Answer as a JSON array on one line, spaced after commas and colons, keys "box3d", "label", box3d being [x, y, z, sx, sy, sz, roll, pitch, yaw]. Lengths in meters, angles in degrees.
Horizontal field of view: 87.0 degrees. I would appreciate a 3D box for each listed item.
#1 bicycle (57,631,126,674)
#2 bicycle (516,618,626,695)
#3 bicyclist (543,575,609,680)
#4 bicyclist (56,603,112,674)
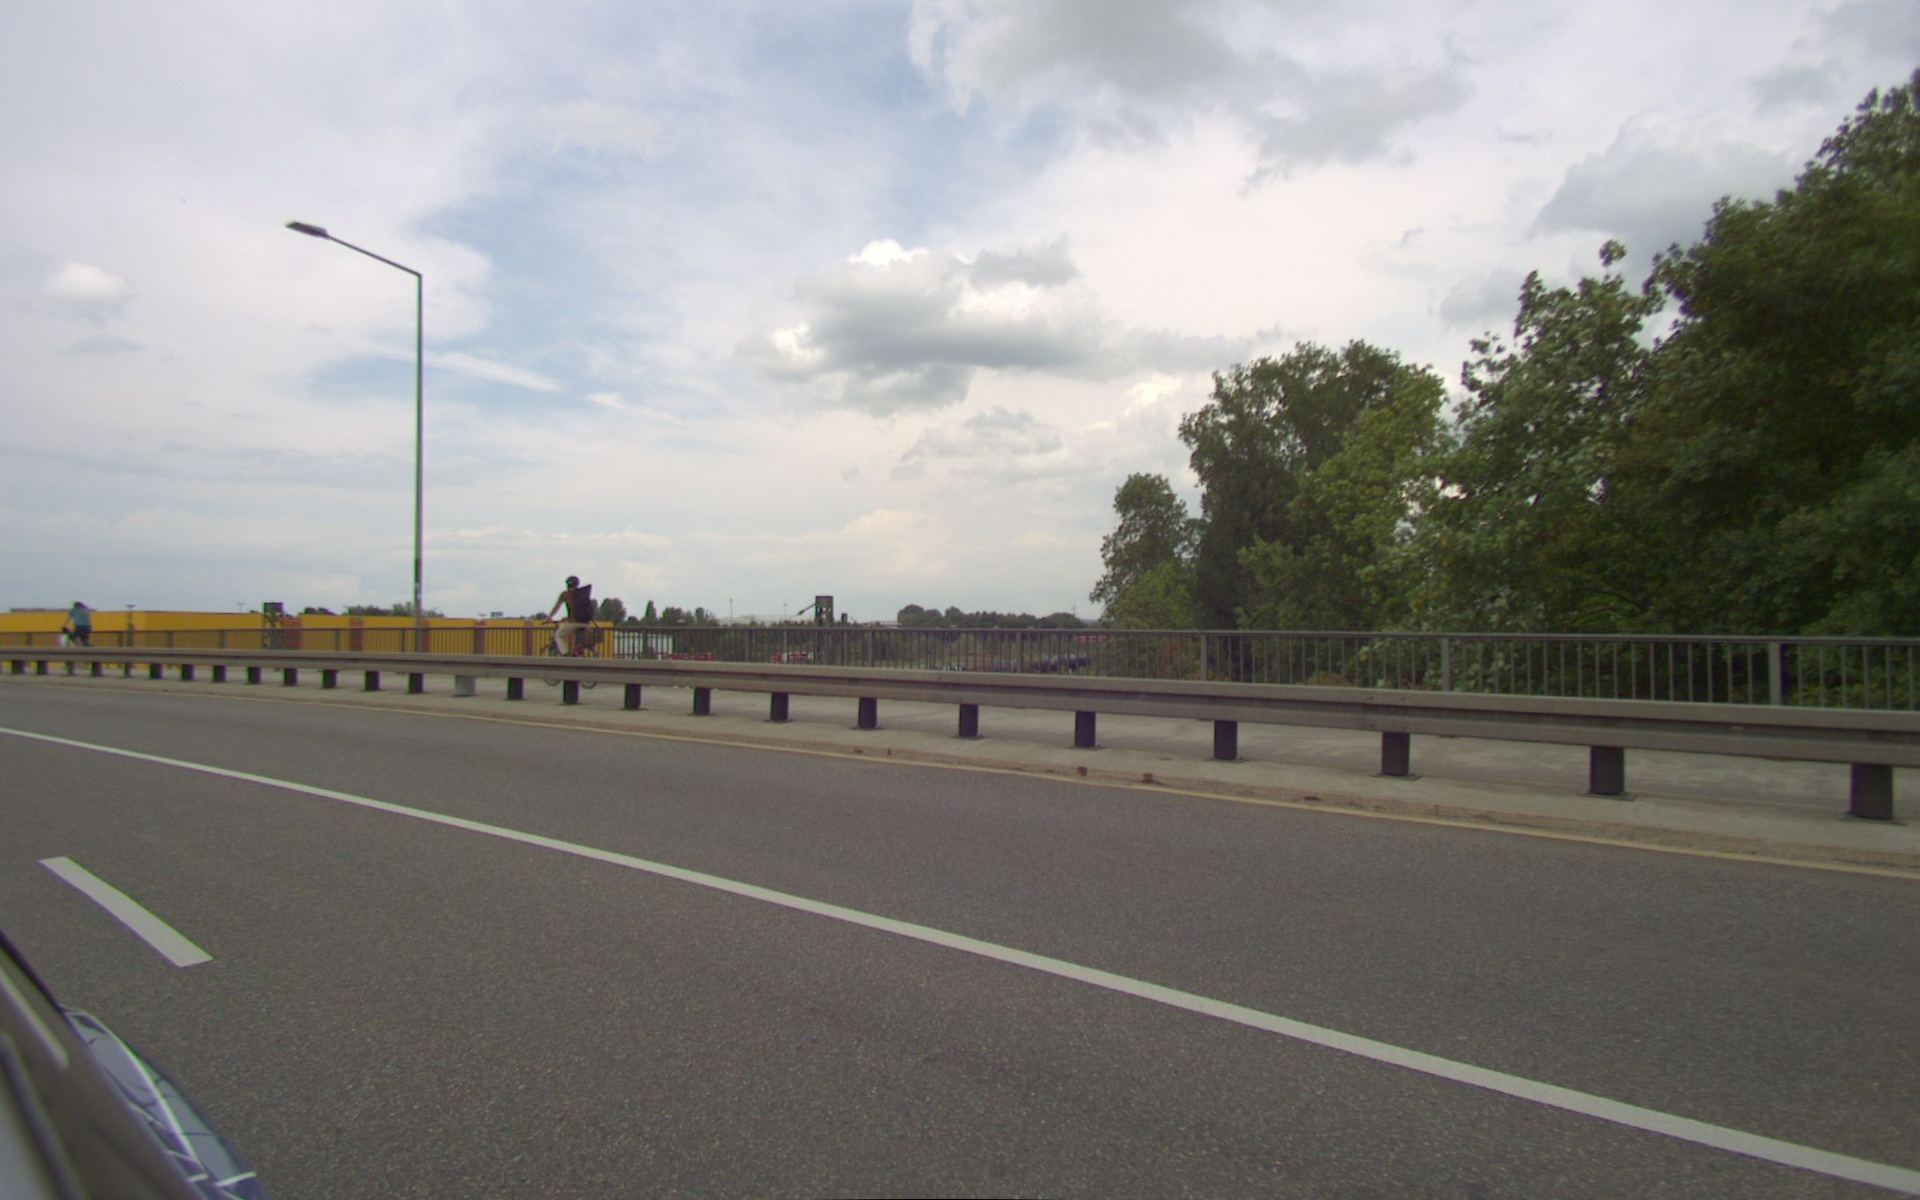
[{"box3d": [-22.706, 1.358, 26.455, 1.750, 1.075, 0.643, -1, -2, 23], "label": "bicycle"}, {"box3d": [-6.363, 0.900, 16.511, 1.899, 1.183, 0.630, -1, -1, 31], "label": "bicycle"}, {"box3d": [-6.233, 0.432, 16.442, 0.647, 1.643, 0.765, 0, 0, 33], "label": "bicyclist"}, {"box3d": [-22.898, 0.988, 26.458, 0.791, 1.822, 0.845, -1, -1, 23], "label": "bicyclist"}]
